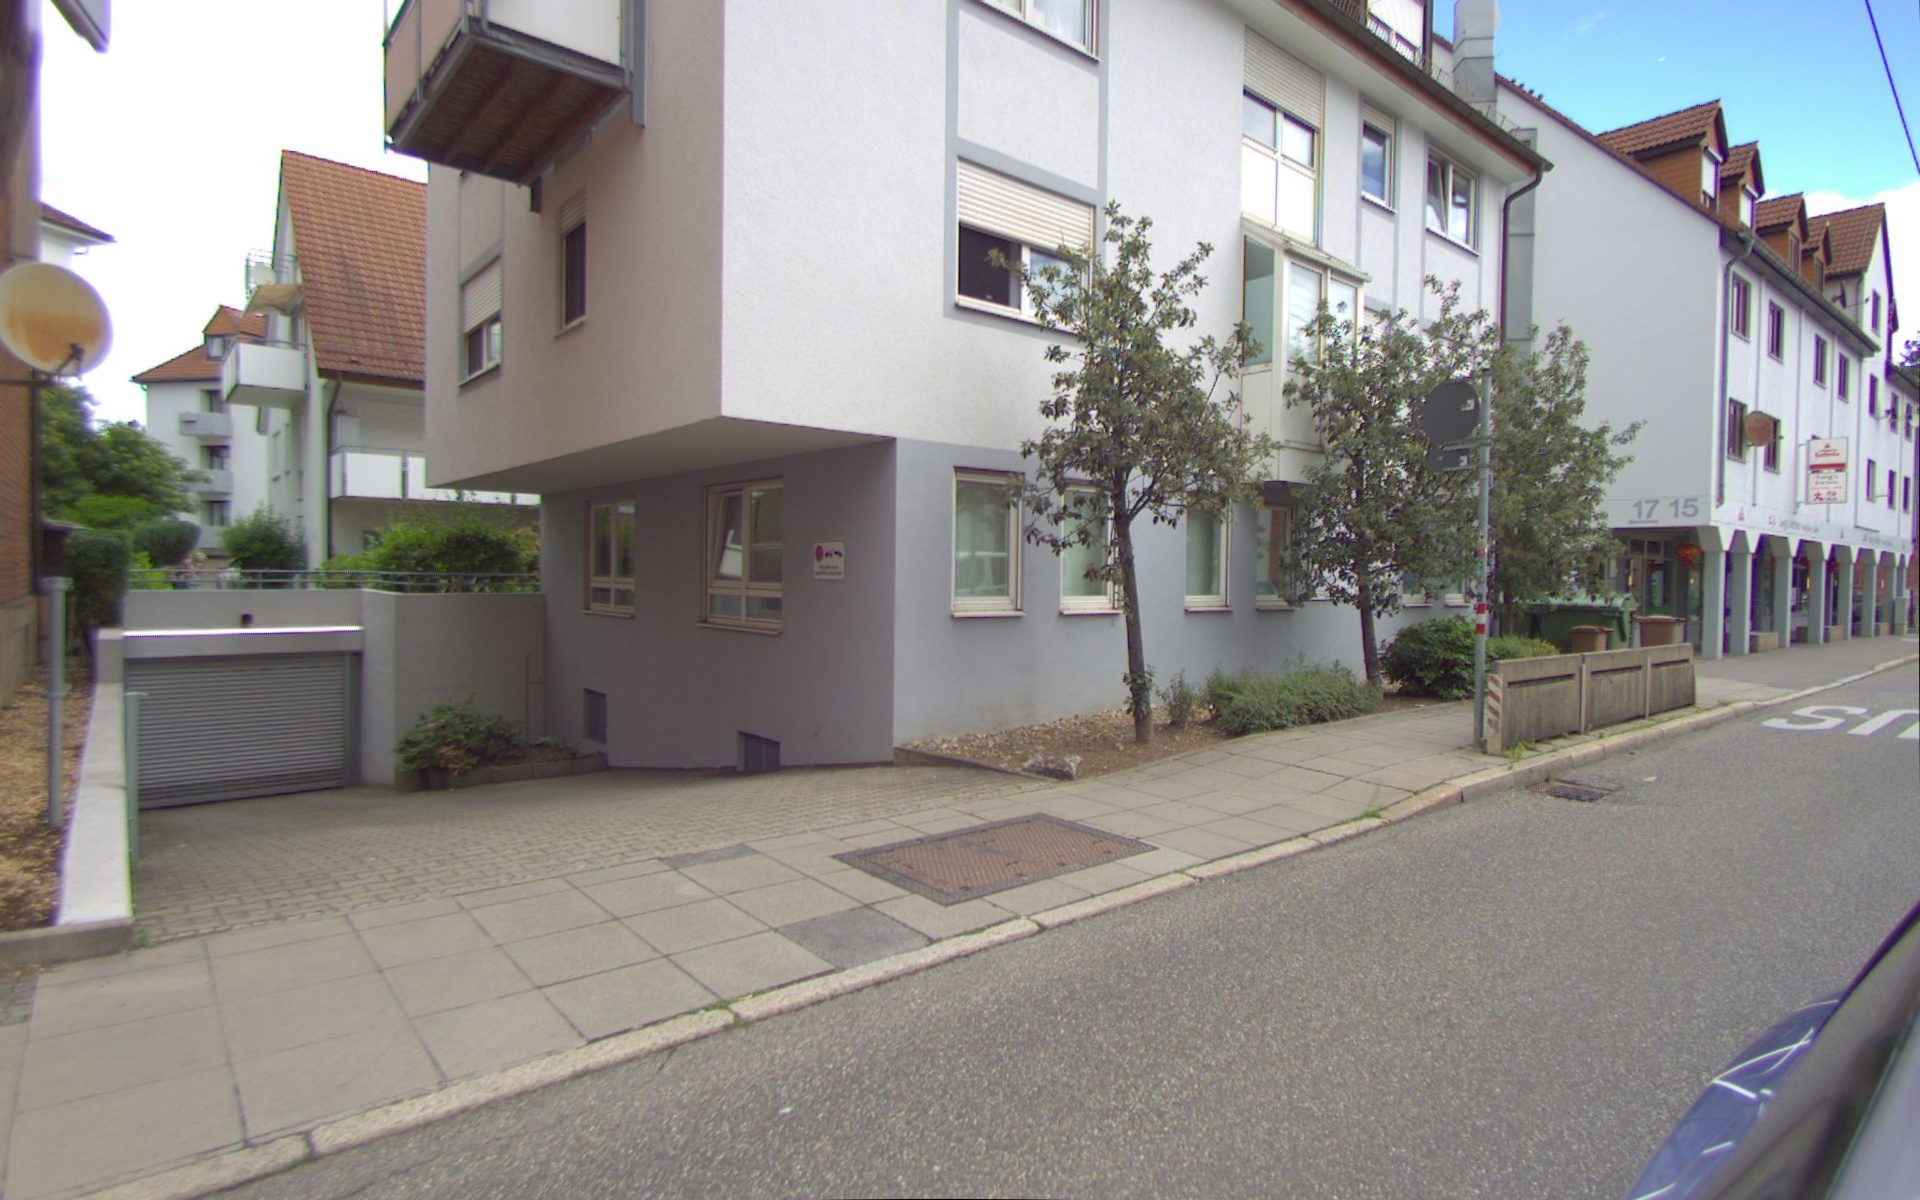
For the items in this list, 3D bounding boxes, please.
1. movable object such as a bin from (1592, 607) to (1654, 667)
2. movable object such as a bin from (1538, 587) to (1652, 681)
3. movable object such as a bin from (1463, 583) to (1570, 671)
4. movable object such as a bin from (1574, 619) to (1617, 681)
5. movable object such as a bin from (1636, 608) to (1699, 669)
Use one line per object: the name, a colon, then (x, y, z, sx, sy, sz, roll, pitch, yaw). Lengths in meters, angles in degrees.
movable object such as a bin: (12.871, 0.705, 19.637, 0.953, 1.092, 0.700, 0, 1, -37)
movable object such as a bin: (10.384, 0.521, 16.557, 1.141, 1.435, 1.270, 0, 1, -40)
movable object such as a bin: (9.816, 0.449, 17.856, 1.284, 1.453, 1.270, 0, 1, -40)
movable object such as a bin: (9.944, 0.769, 15.832, 0.457, 0.932, 0.431, 0, 1, -40)
movable object such as a bin: (13.316, 0.711, 19.055, 0.953, 1.080, 0.685, 0, 1, -37)
